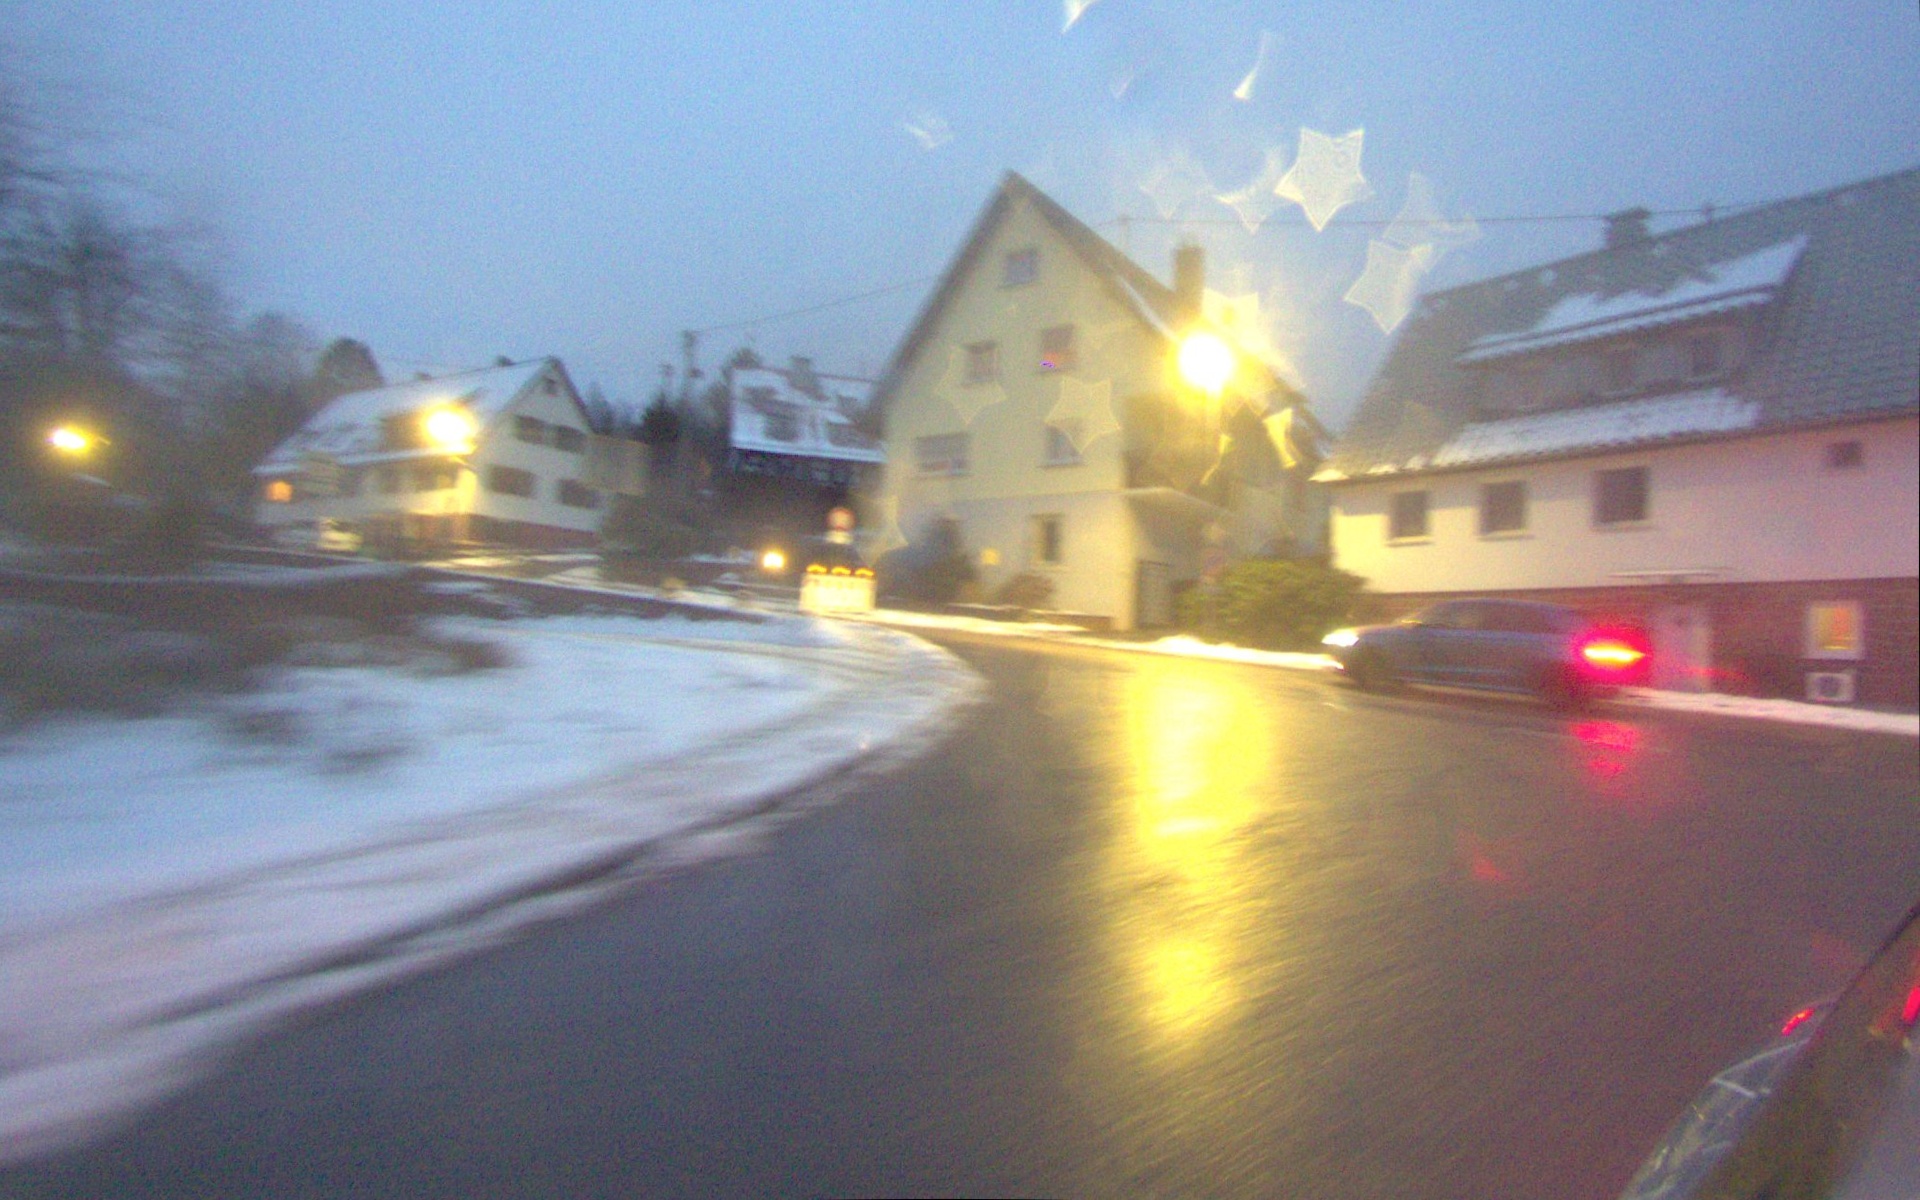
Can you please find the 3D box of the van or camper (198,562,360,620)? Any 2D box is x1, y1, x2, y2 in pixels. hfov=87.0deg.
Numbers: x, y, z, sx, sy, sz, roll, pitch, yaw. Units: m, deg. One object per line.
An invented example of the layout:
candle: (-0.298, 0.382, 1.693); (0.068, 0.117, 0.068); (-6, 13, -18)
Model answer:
van or camper: (-14.440, -0.174, 21.460); (3.236, 1.116, 1.276); (0, -3, 24)

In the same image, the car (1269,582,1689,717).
car: (7.156, 0.578, 14.346); (4.918, 1.398, 1.969); (4, 1, 43)
